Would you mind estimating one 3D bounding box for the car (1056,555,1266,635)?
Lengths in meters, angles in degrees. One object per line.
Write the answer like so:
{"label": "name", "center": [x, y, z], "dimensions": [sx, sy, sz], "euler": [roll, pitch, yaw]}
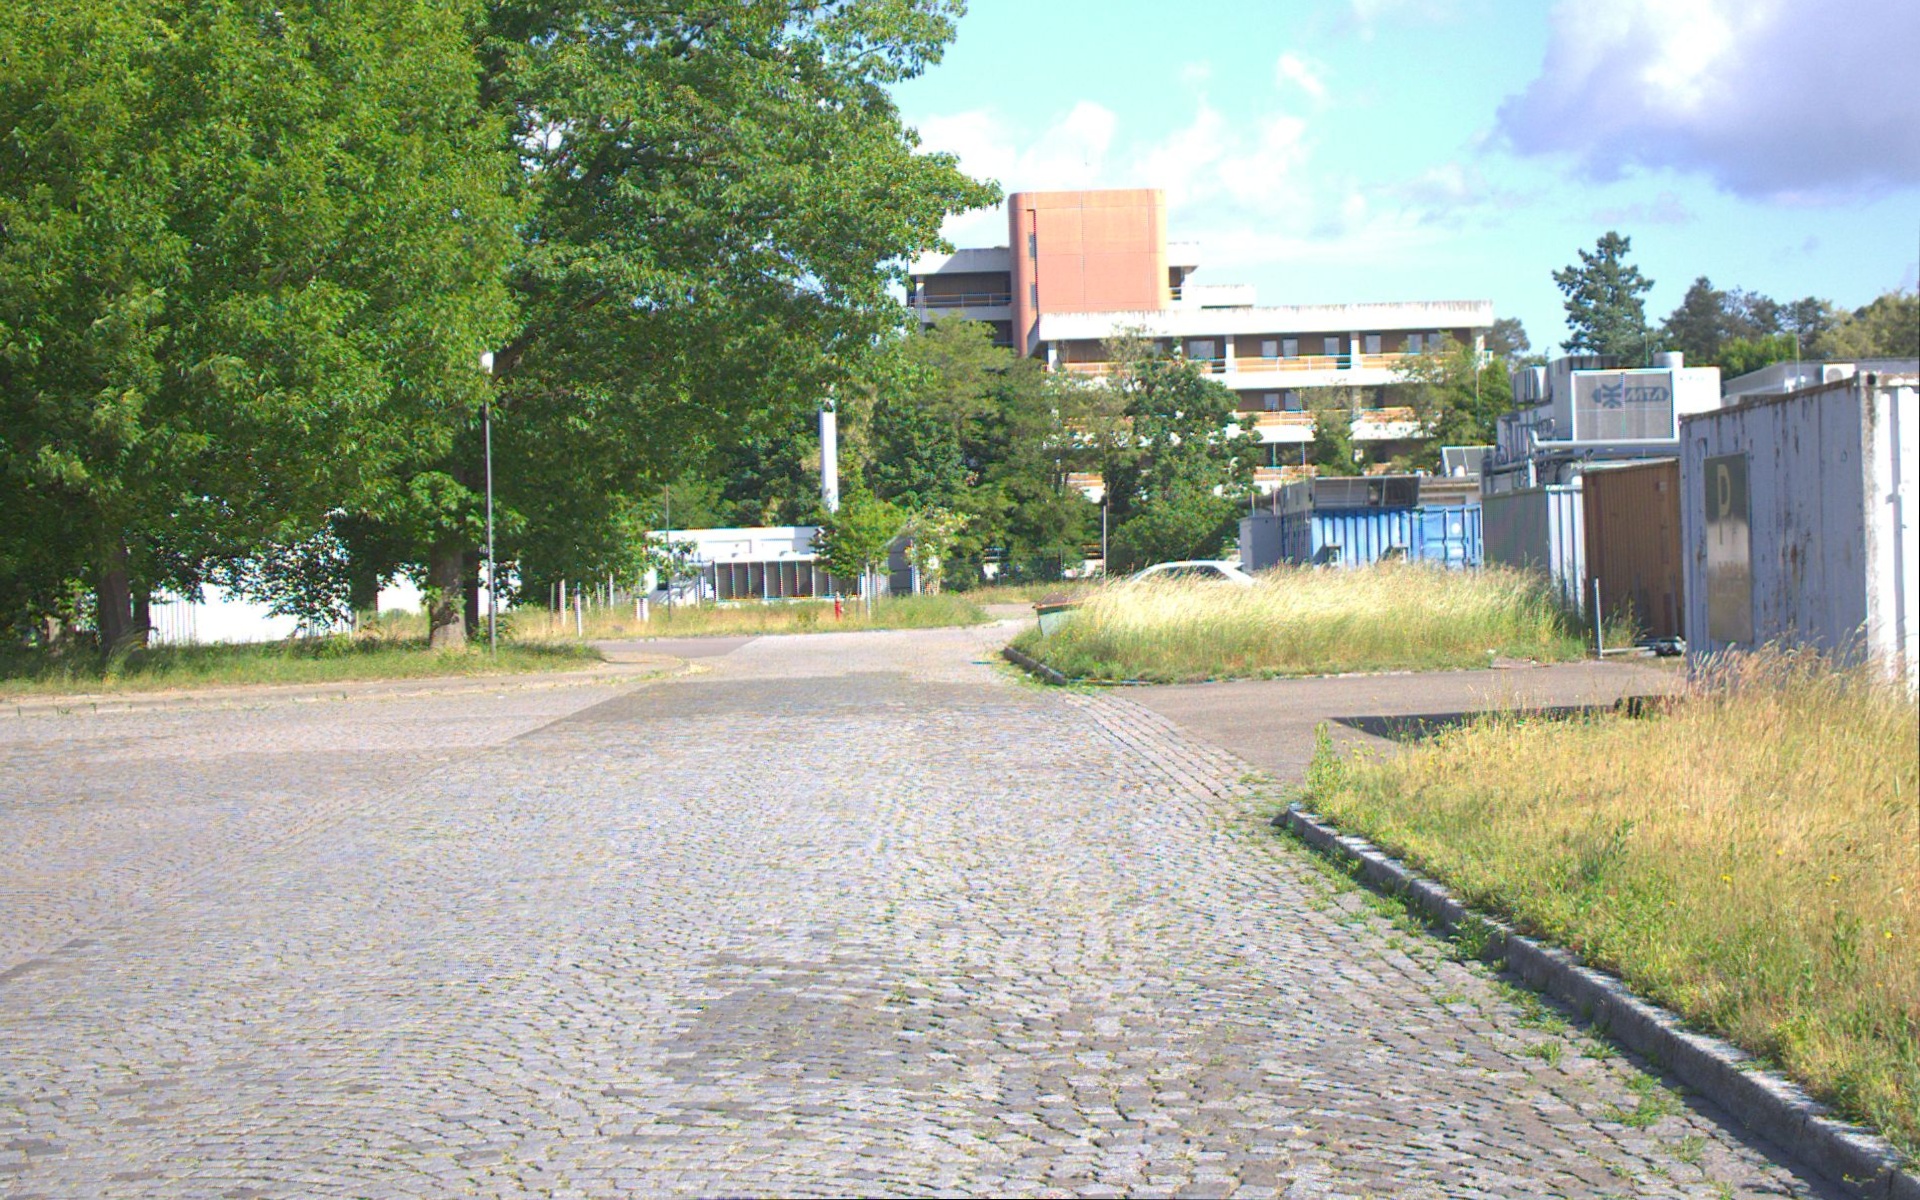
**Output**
{"label": "car", "center": [4.532, -0.118, 77.896], "dimensions": [4.504, 1.642, 2.000], "euler": [-2, 0, -2]}
